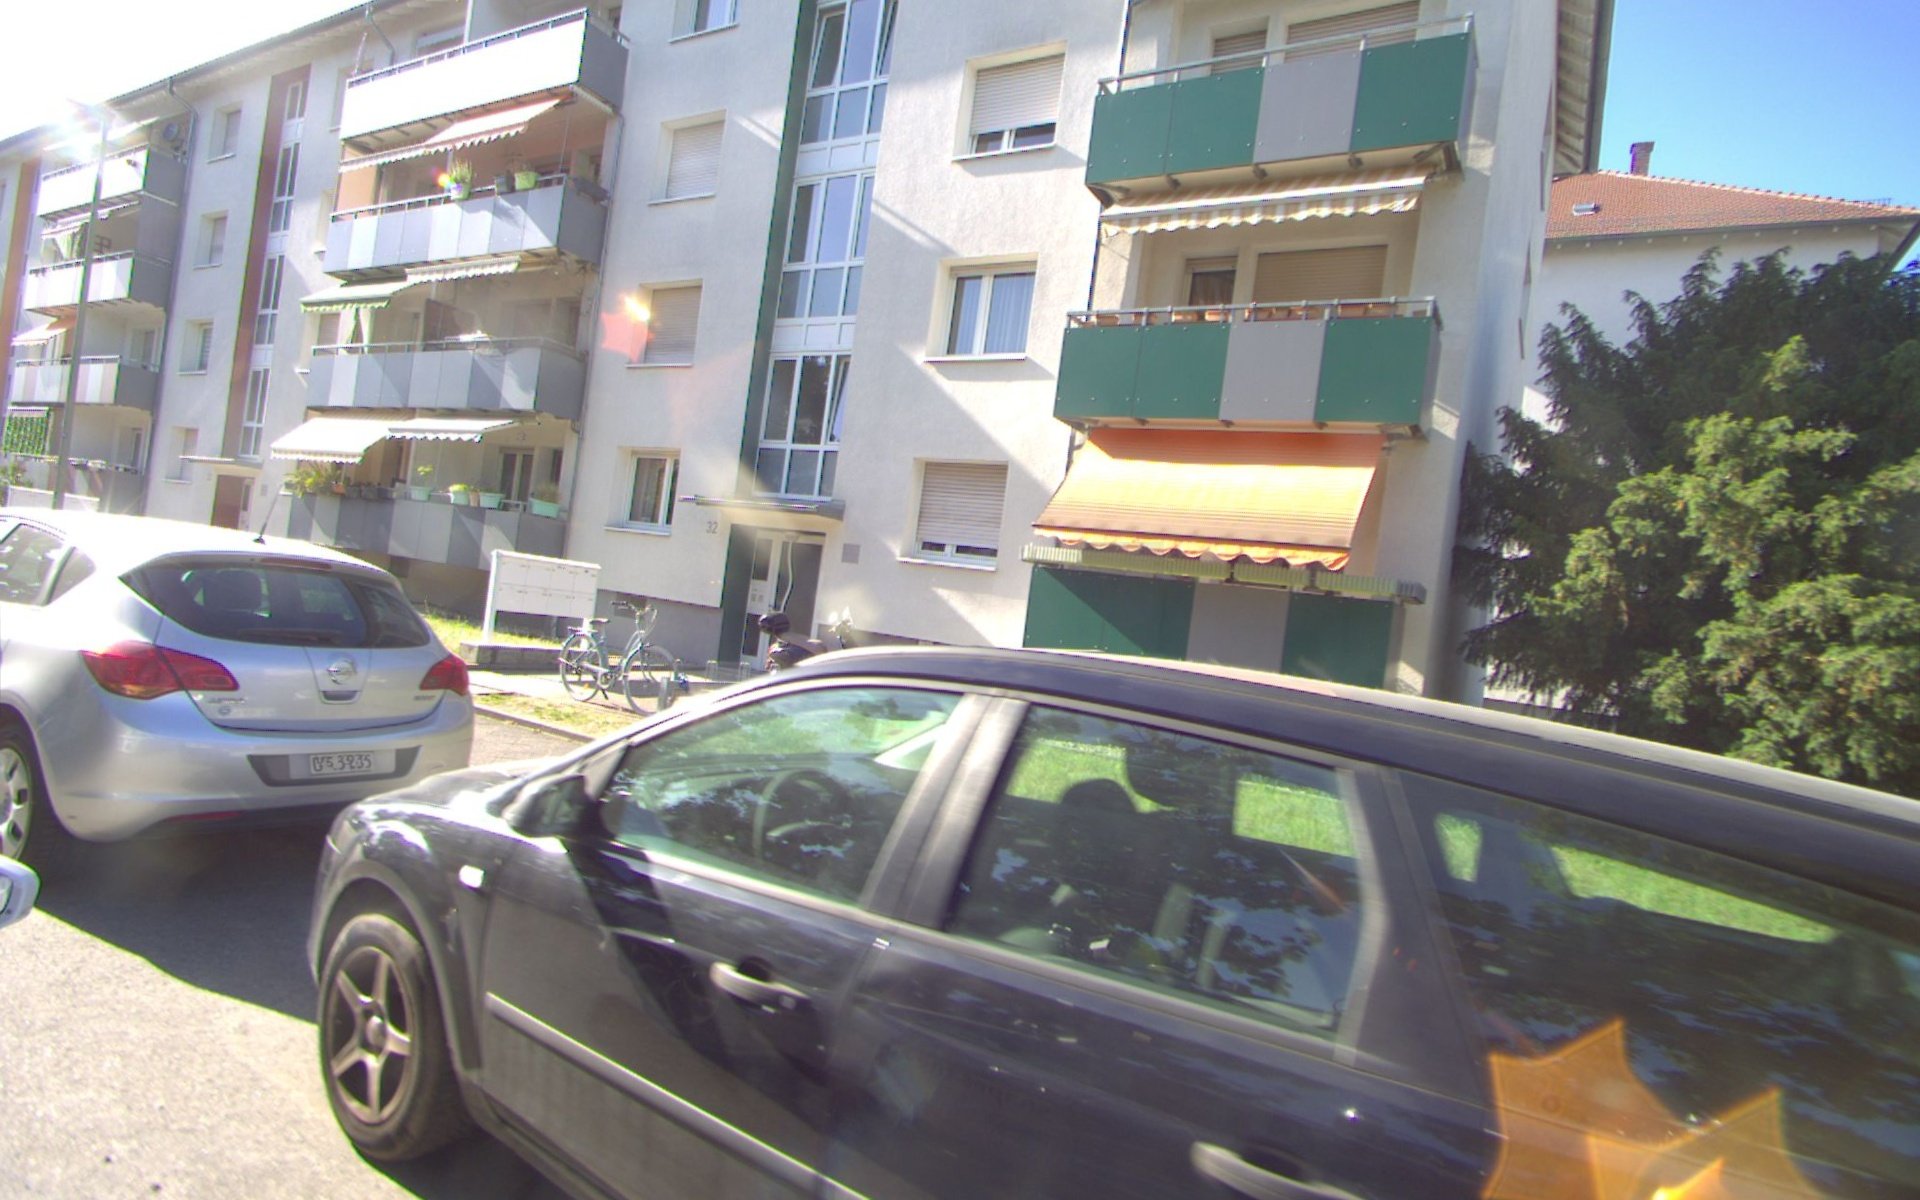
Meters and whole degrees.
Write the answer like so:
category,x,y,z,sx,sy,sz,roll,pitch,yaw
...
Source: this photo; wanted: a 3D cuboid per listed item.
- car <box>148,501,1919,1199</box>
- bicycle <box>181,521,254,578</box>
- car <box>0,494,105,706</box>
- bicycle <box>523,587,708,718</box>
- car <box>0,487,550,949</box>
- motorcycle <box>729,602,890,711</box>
category,x,y,z,sx,sy,sz,roll,pitch,yaw
car,0.078,0.795,2.459,4.483,1.547,1.772,7,-1,33
bicycle,-16.696,-1.148,22.604,1.976,1.085,0.524,7,2,30
car,-9.081,-0.292,8.010,4.980,1.490,1.847,7,-1,31
bicycle,-3.620,0.535,10.505,1.865,1.090,0.721,7,-1,33
car,-4.548,0.264,5.326,4.415,1.552,1.878,7,-1,28
motorcycle,-2.031,0.740,13.499,2.000,1.165,0.584,7,0,22
